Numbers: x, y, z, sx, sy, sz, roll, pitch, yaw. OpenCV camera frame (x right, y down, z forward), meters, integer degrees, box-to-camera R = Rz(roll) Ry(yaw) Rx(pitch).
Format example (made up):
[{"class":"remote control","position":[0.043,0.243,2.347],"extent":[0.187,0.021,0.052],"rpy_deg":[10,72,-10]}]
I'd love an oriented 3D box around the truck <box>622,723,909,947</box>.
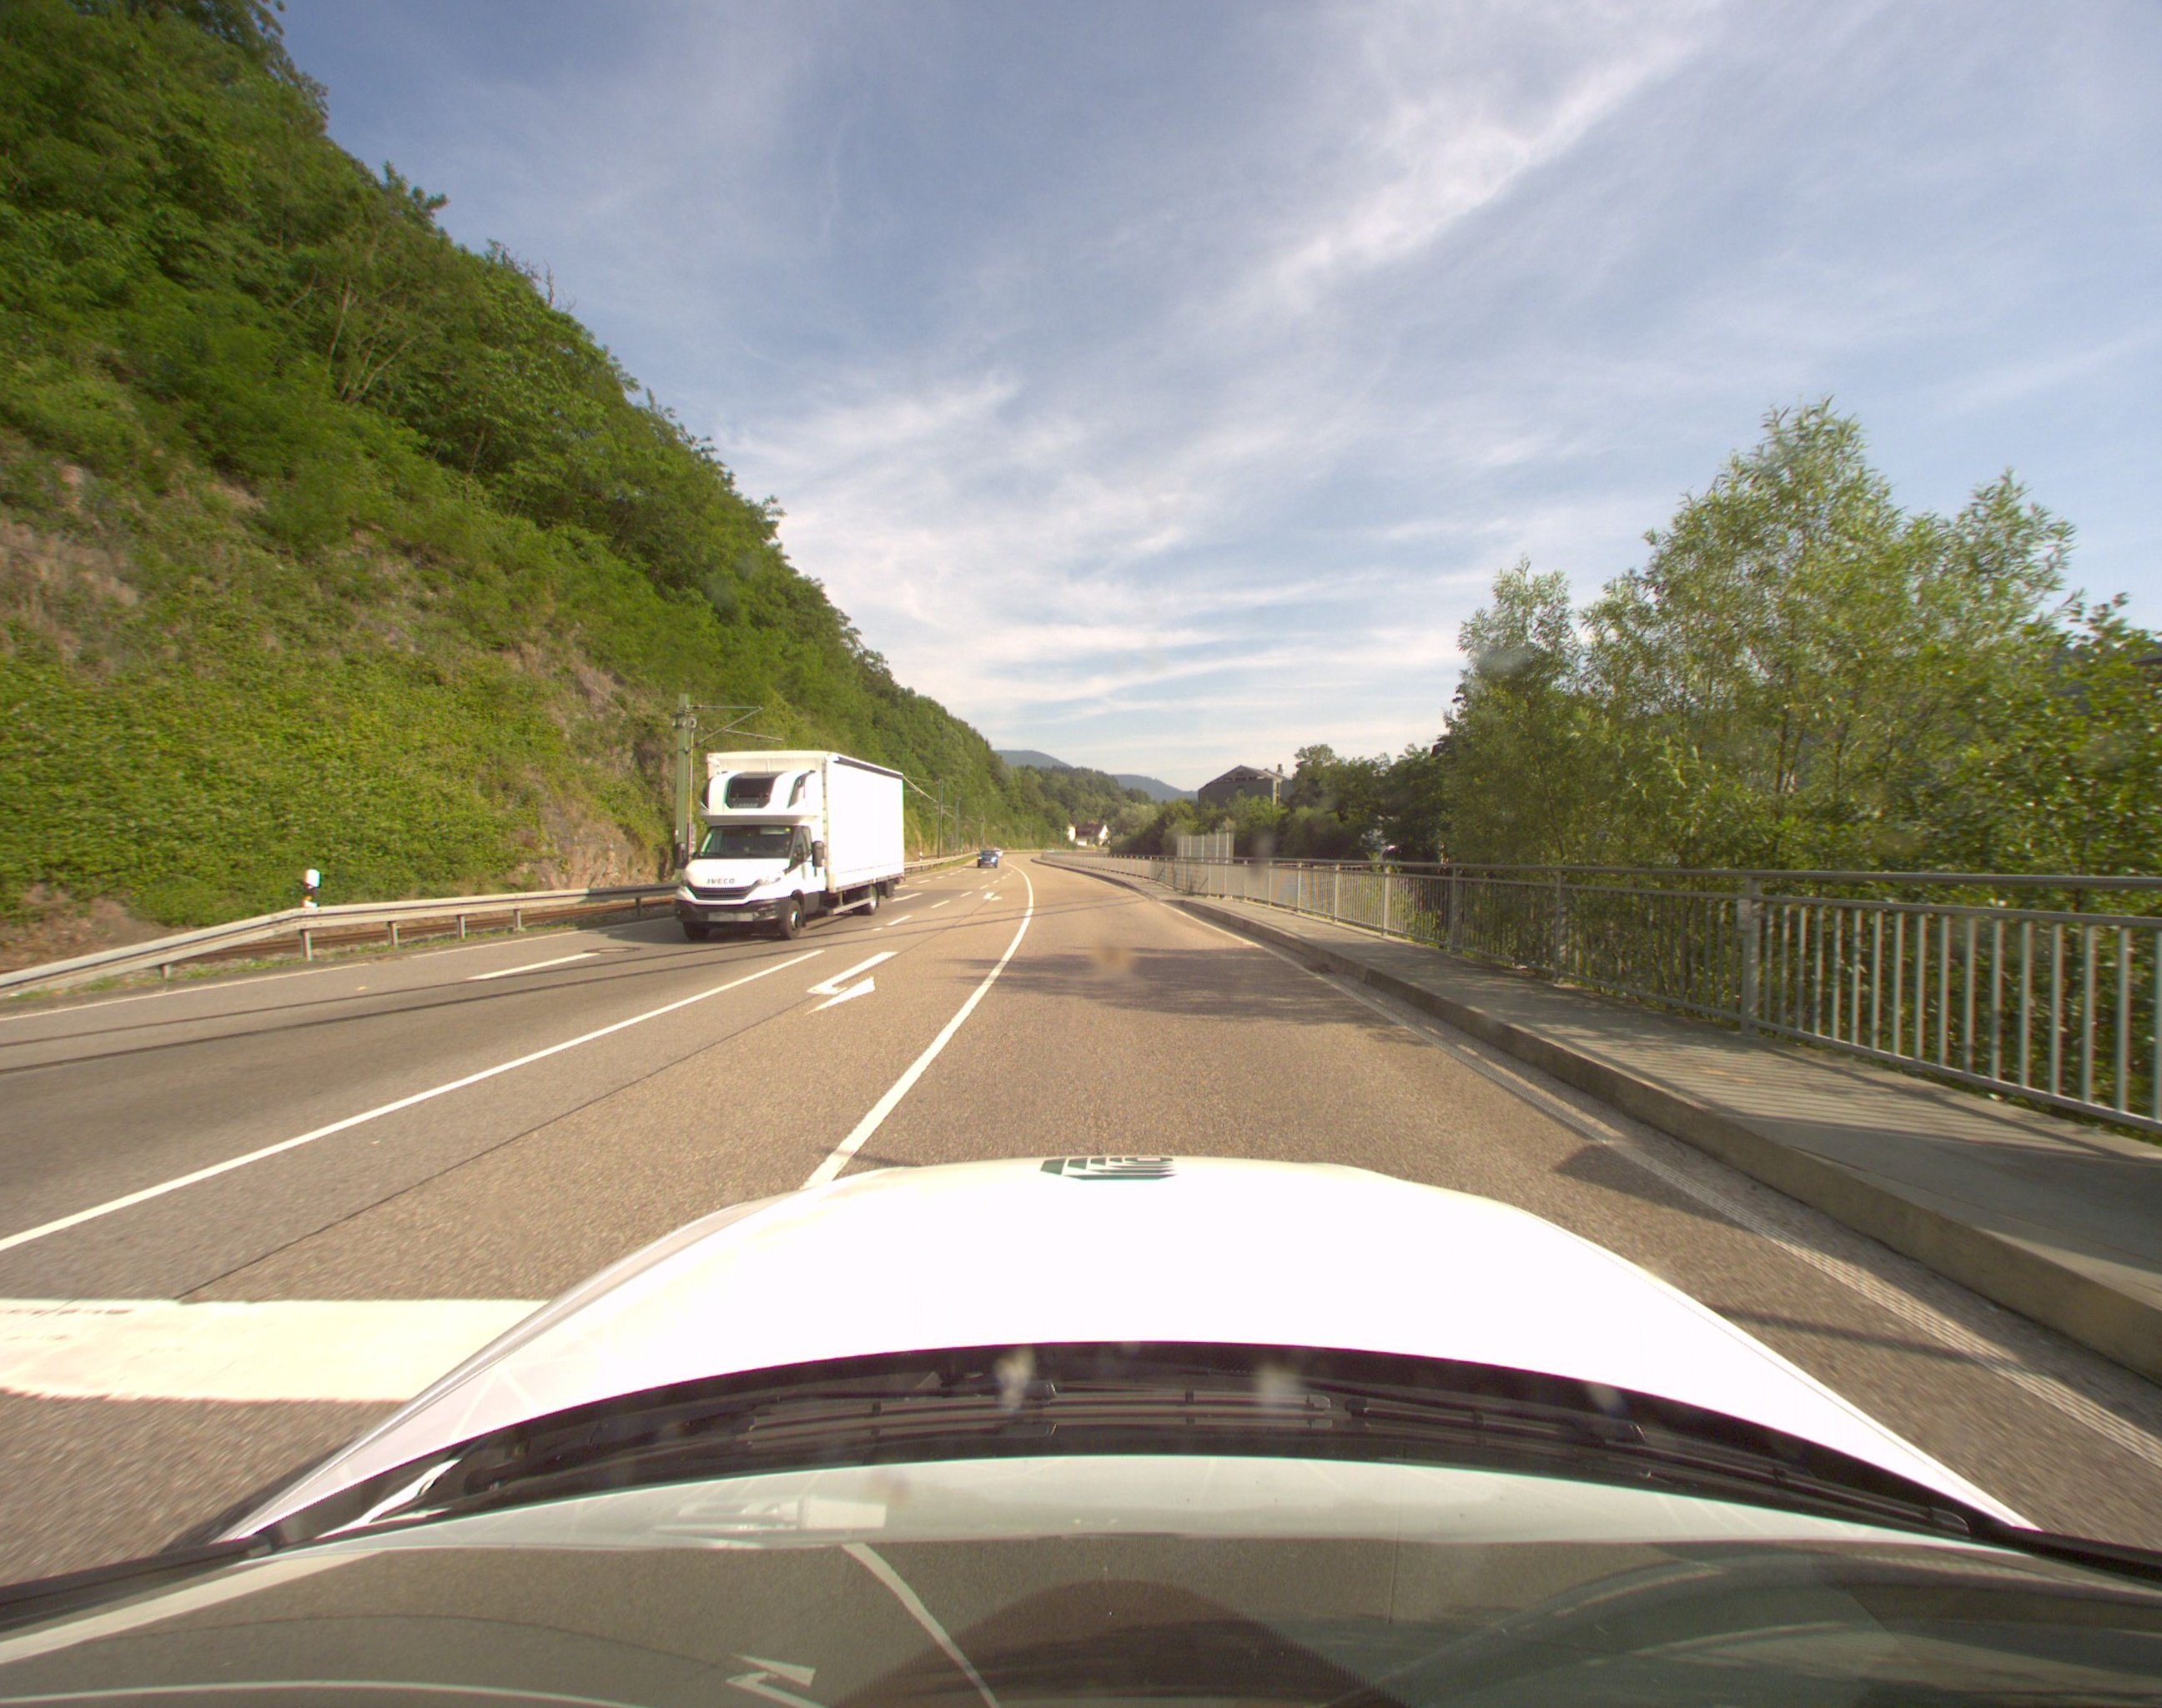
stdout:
[{"class":"truck","position":[-6.335,-0.370,18.403],"extent":[2.887,3.798,8.895],"rpy_deg":[-1,1,0]}]

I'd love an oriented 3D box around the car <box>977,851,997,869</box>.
[{"class":"car","position":[-8.246,0.523,71.583],"extent":[1.716,1.570,4.126],"rpy_deg":[-1,0,-6]}]

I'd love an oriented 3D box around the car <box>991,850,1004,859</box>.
[{"class":"car","position":[-14.684,0.066,142.745],"extent":[2.059,1.439,4.680],"rpy_deg":[-1,0,-3]}]
